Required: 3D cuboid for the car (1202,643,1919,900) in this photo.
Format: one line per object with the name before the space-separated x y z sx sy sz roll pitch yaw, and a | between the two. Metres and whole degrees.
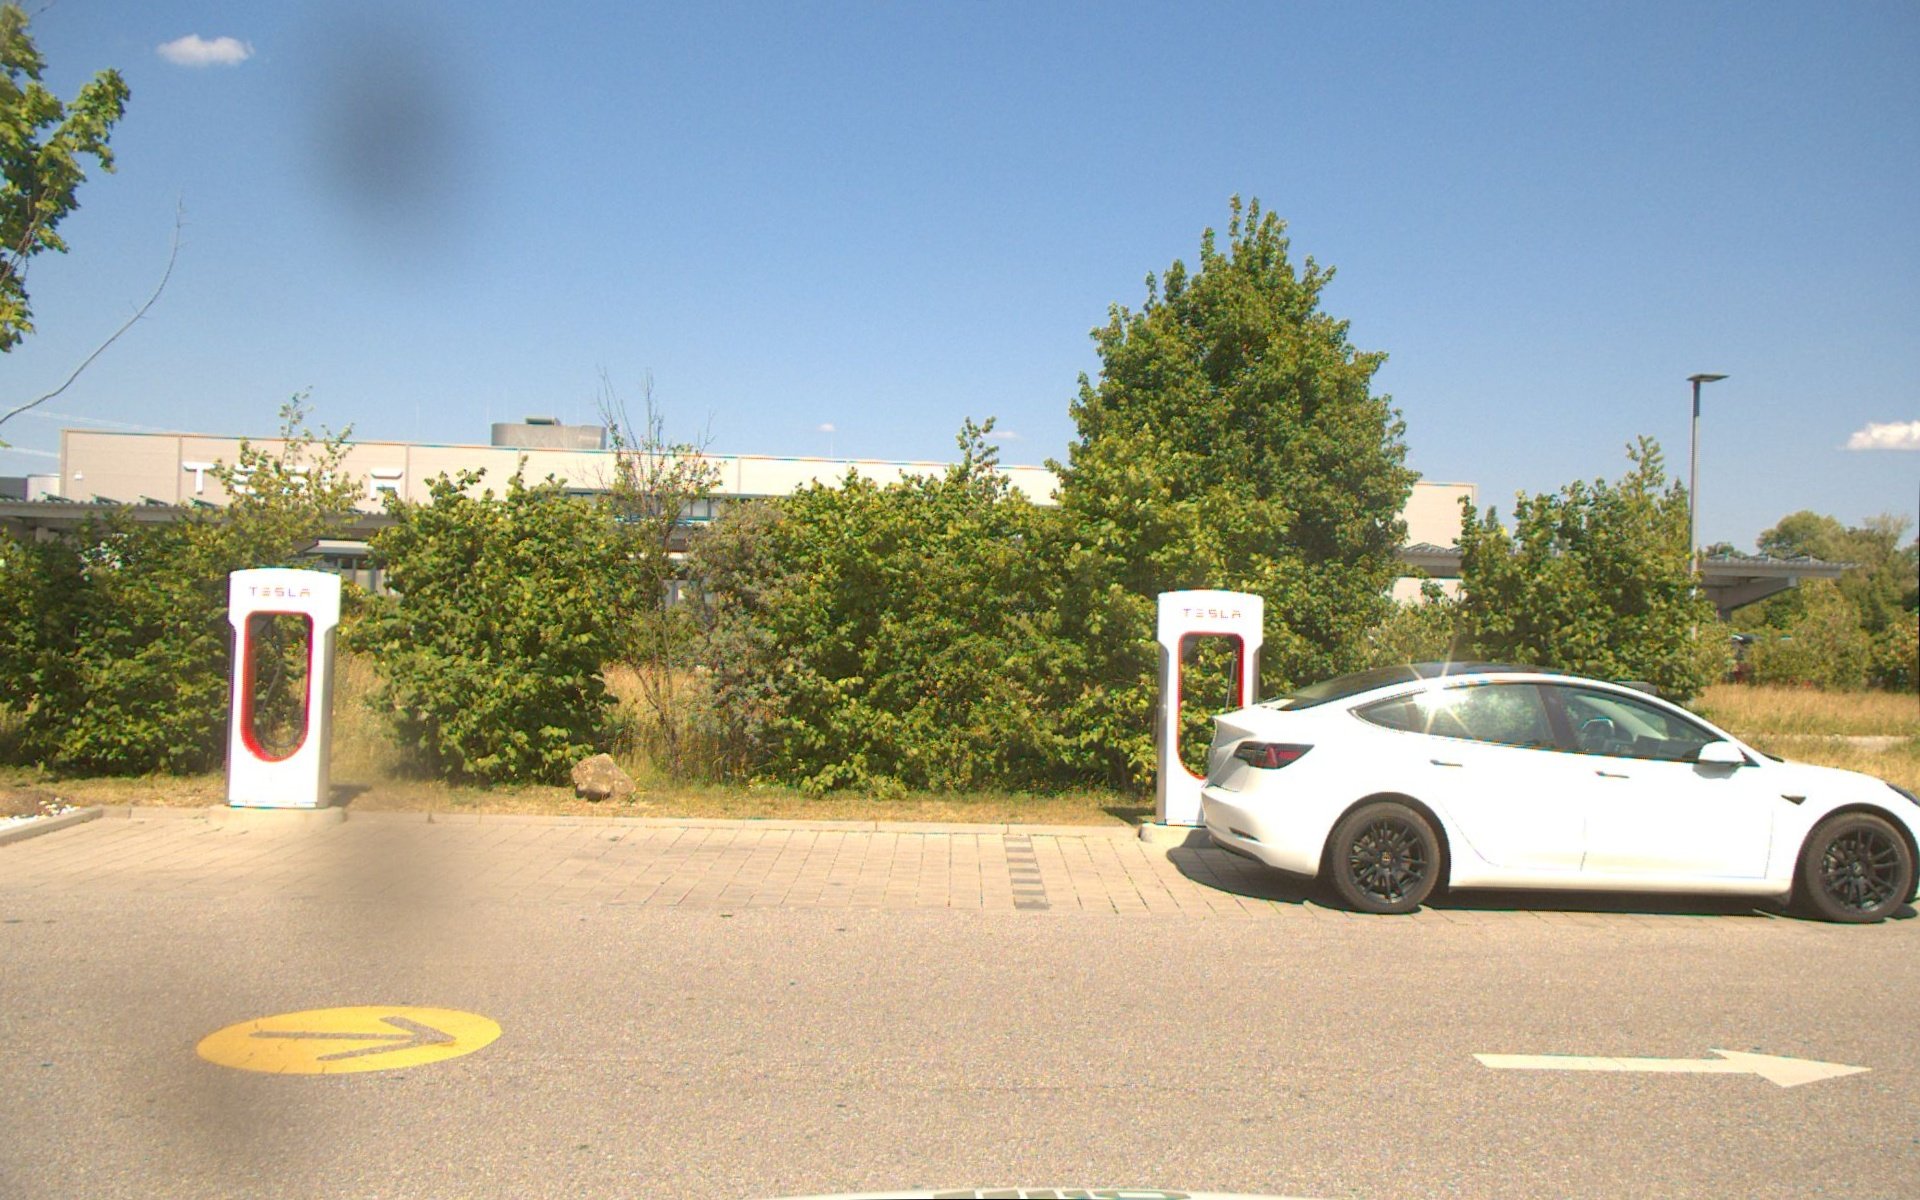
car | 3.858 1.028 10.510 4.344 1.402 1.822 1 -1 -2
